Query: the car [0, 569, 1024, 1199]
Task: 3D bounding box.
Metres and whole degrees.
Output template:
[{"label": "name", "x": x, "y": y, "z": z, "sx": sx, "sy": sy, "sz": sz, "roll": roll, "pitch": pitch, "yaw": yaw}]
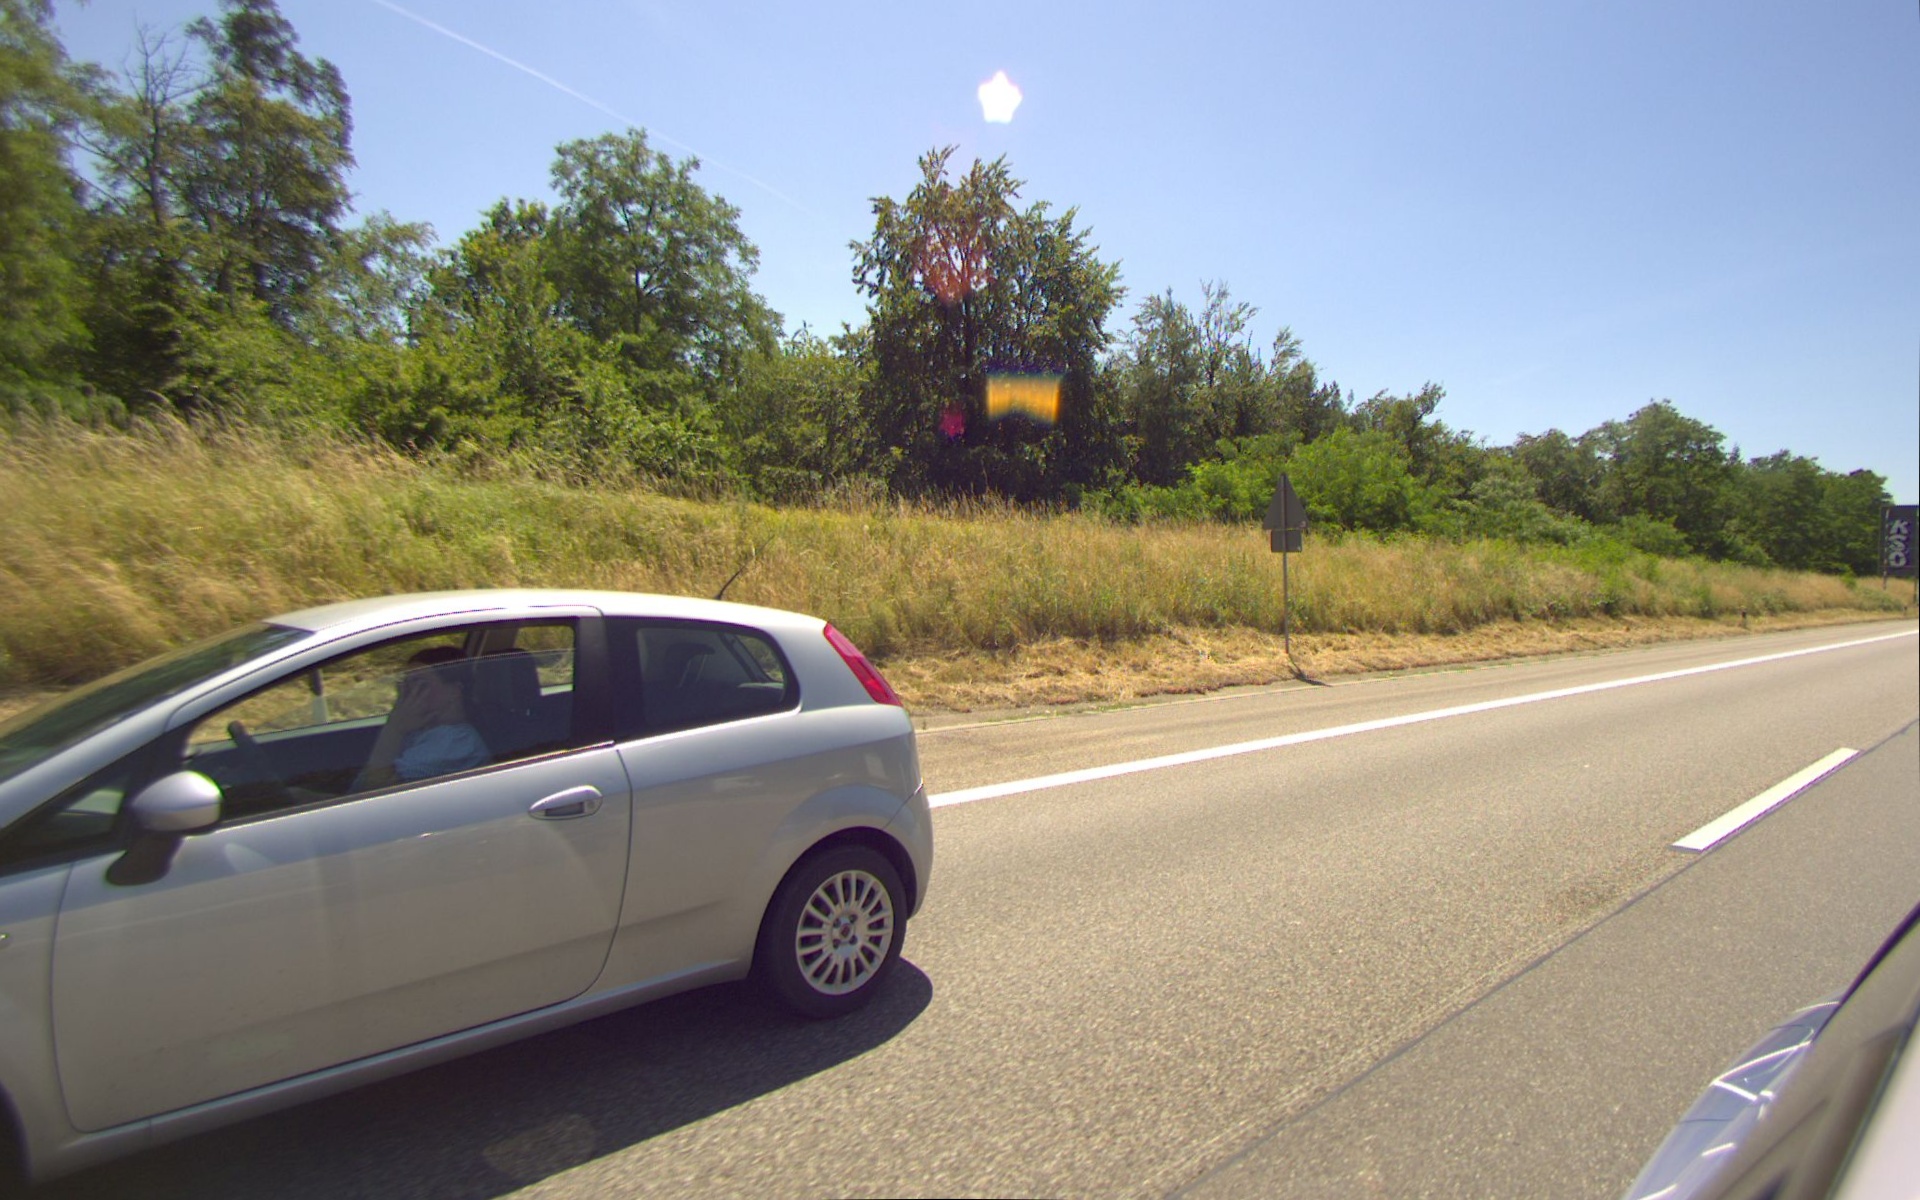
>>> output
[{"label": "car", "x": -1.797, "y": 0.666, "z": 3.392, "sx": 3.910, "sy": 1.484, "sz": 1.748, "roll": -1, "pitch": 0, "yaw": -40}]
